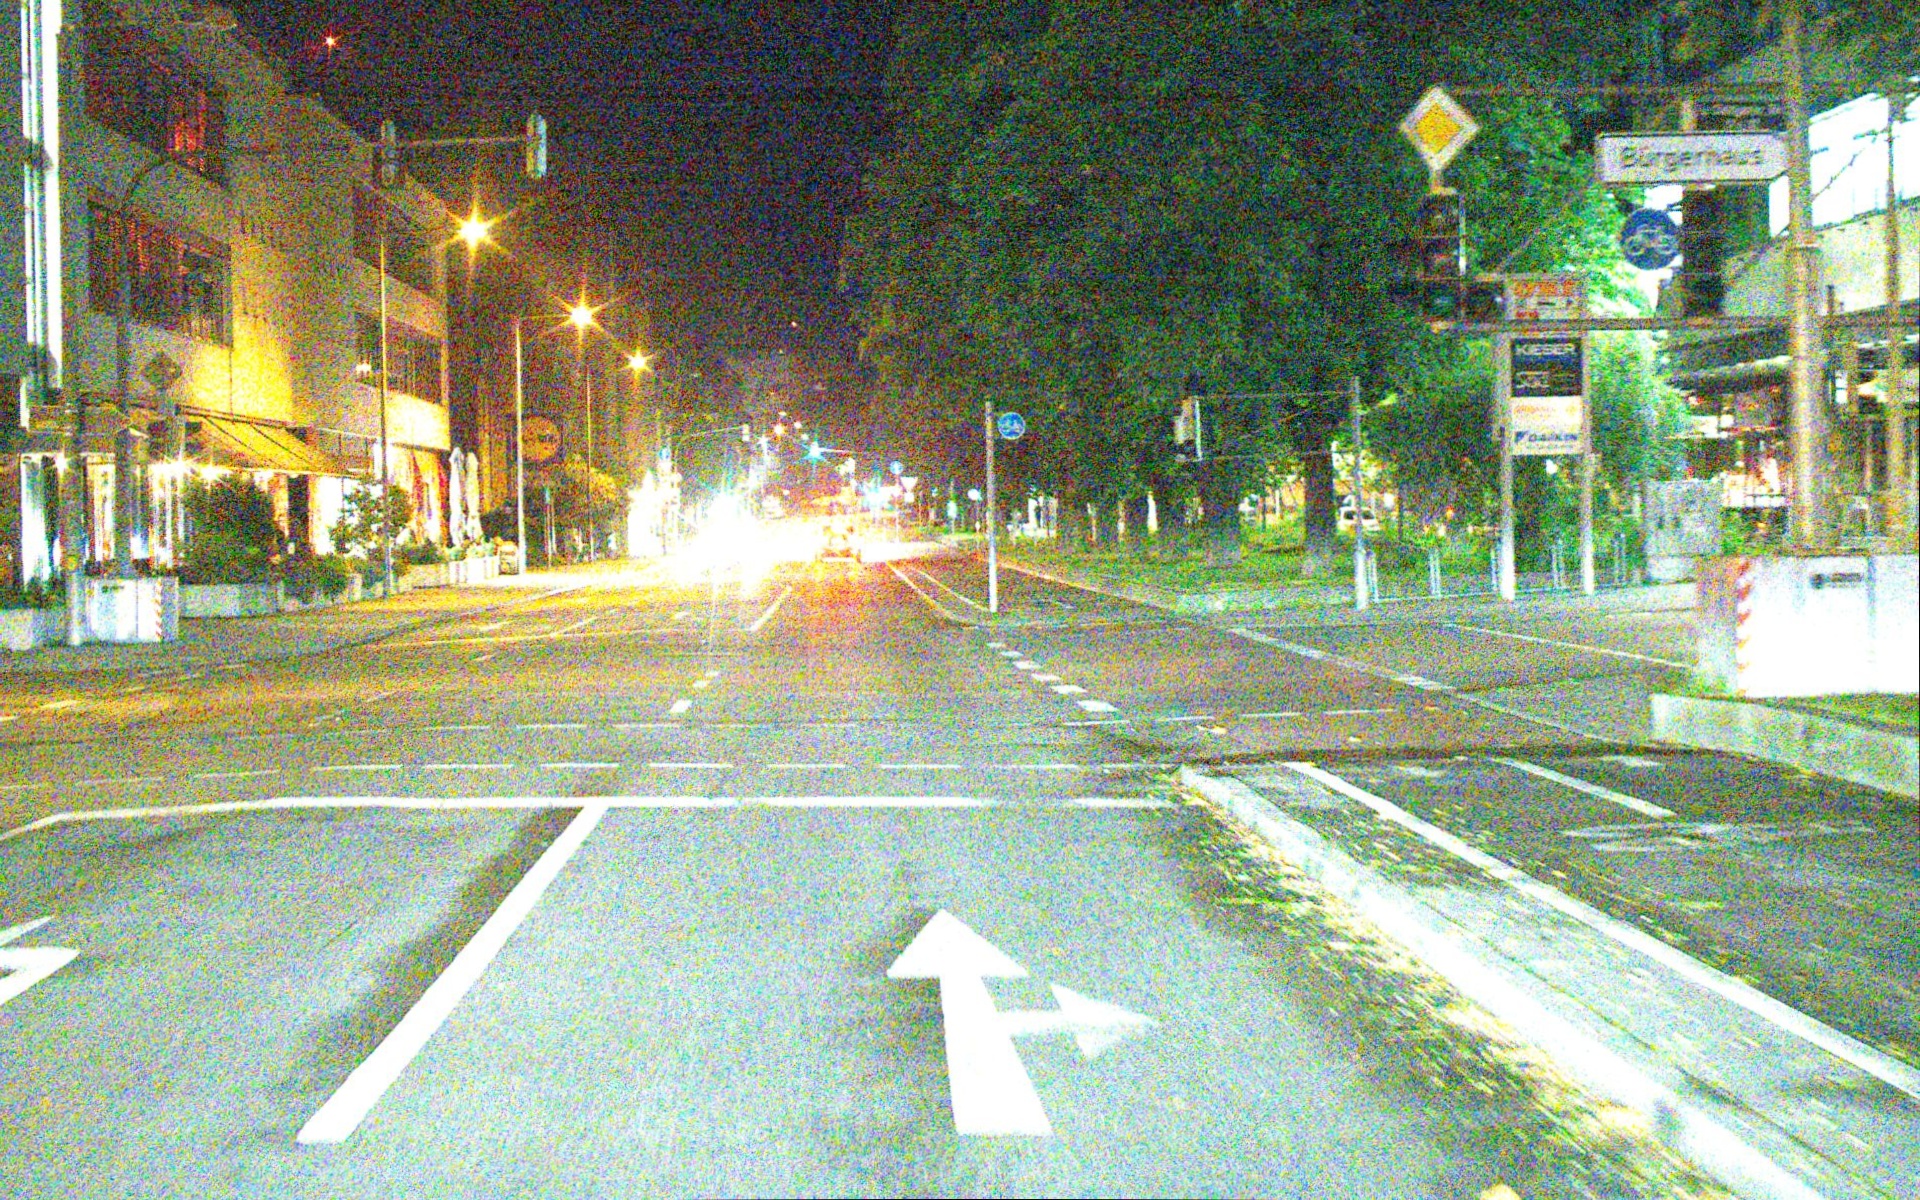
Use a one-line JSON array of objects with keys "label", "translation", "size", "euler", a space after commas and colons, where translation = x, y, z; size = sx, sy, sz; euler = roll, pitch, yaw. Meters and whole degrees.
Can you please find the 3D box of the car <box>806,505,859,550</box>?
[{"label": "car", "translation": [-5.036, -2.883, 136.047], "size": [1.993, 1.637, 4.001], "euler": [-2, 2, -2]}]
